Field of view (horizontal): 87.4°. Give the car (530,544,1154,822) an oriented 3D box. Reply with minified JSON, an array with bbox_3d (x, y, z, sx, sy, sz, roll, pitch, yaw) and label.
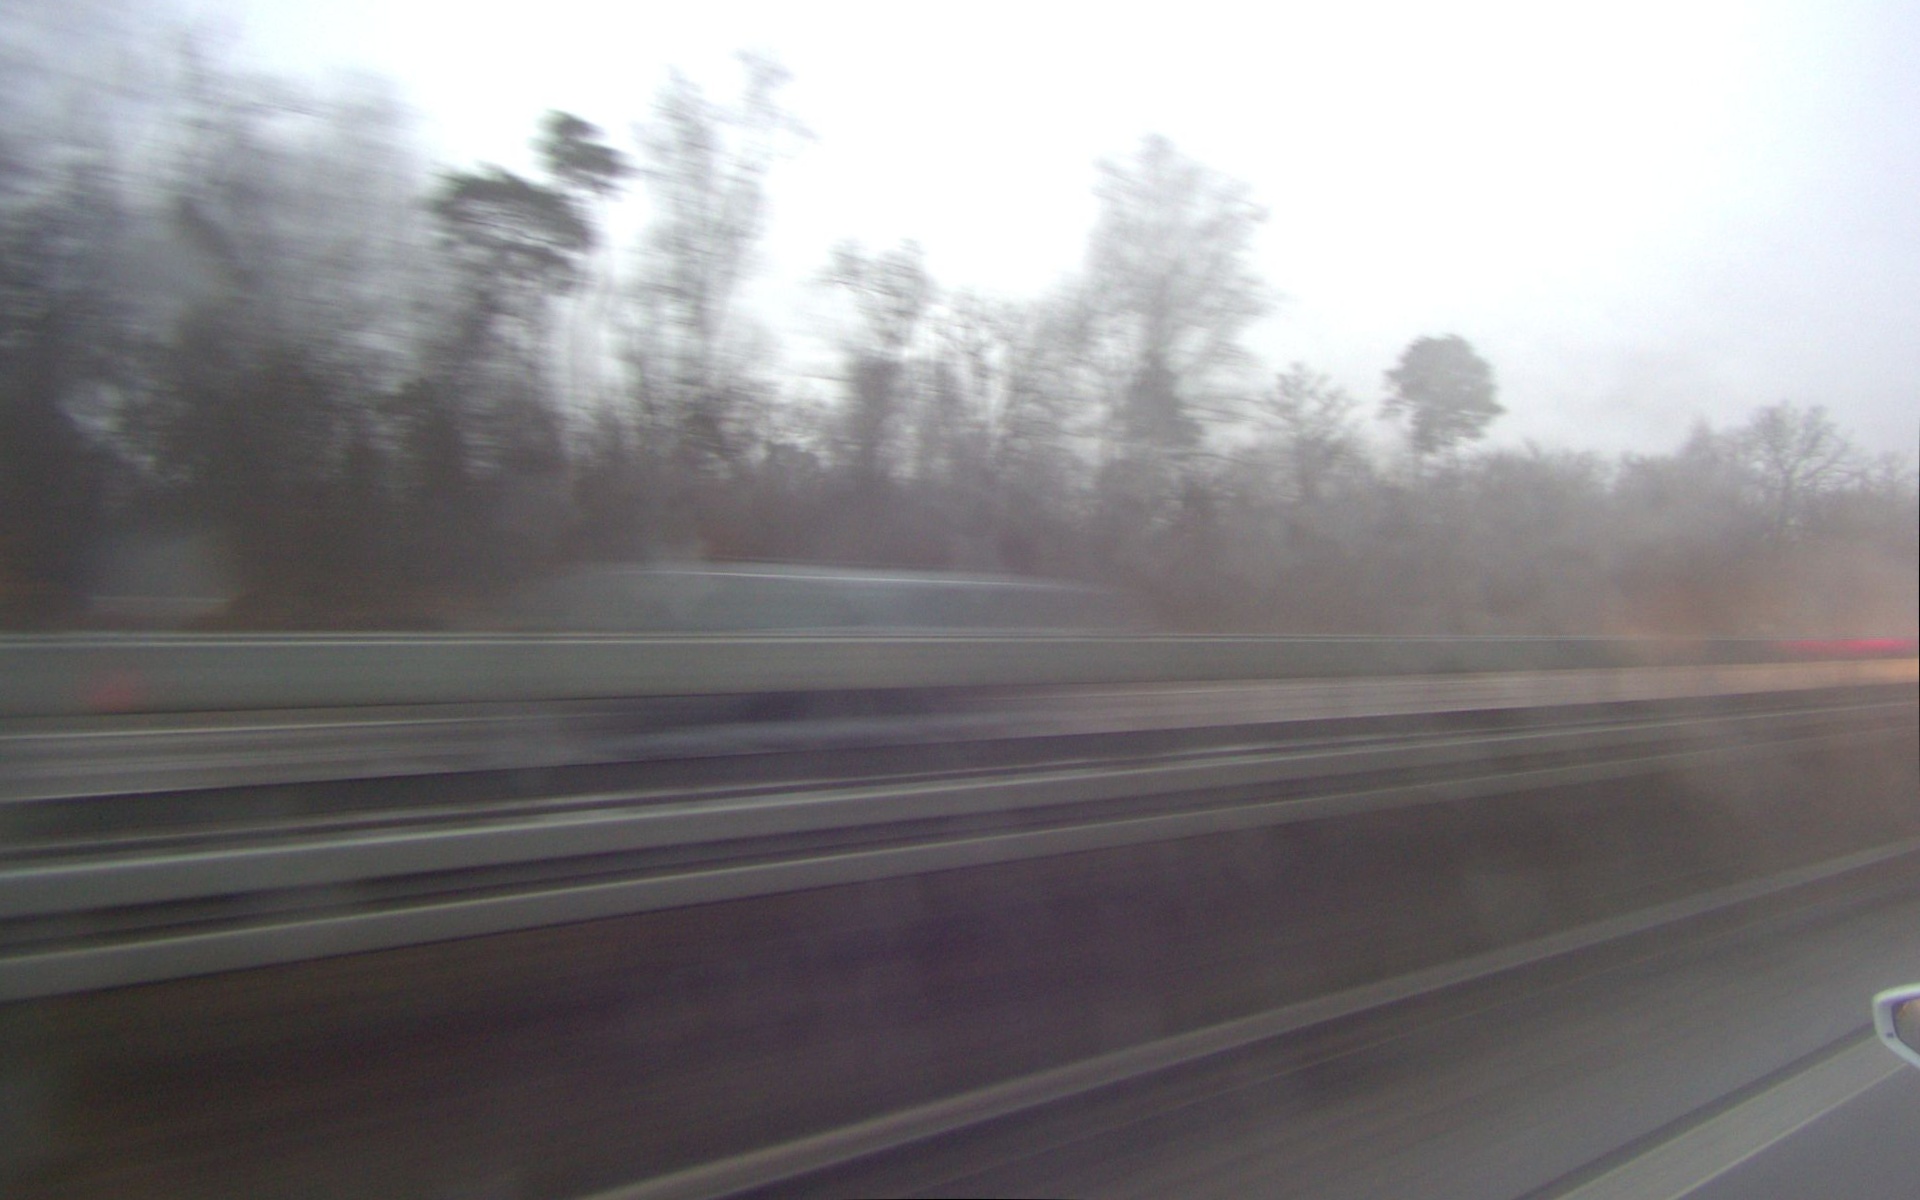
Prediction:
[{"bbox_3d":[-0.775,0.530,7.594,4.370,1.599,1.671,2,0,-30],"label":"car"}]
